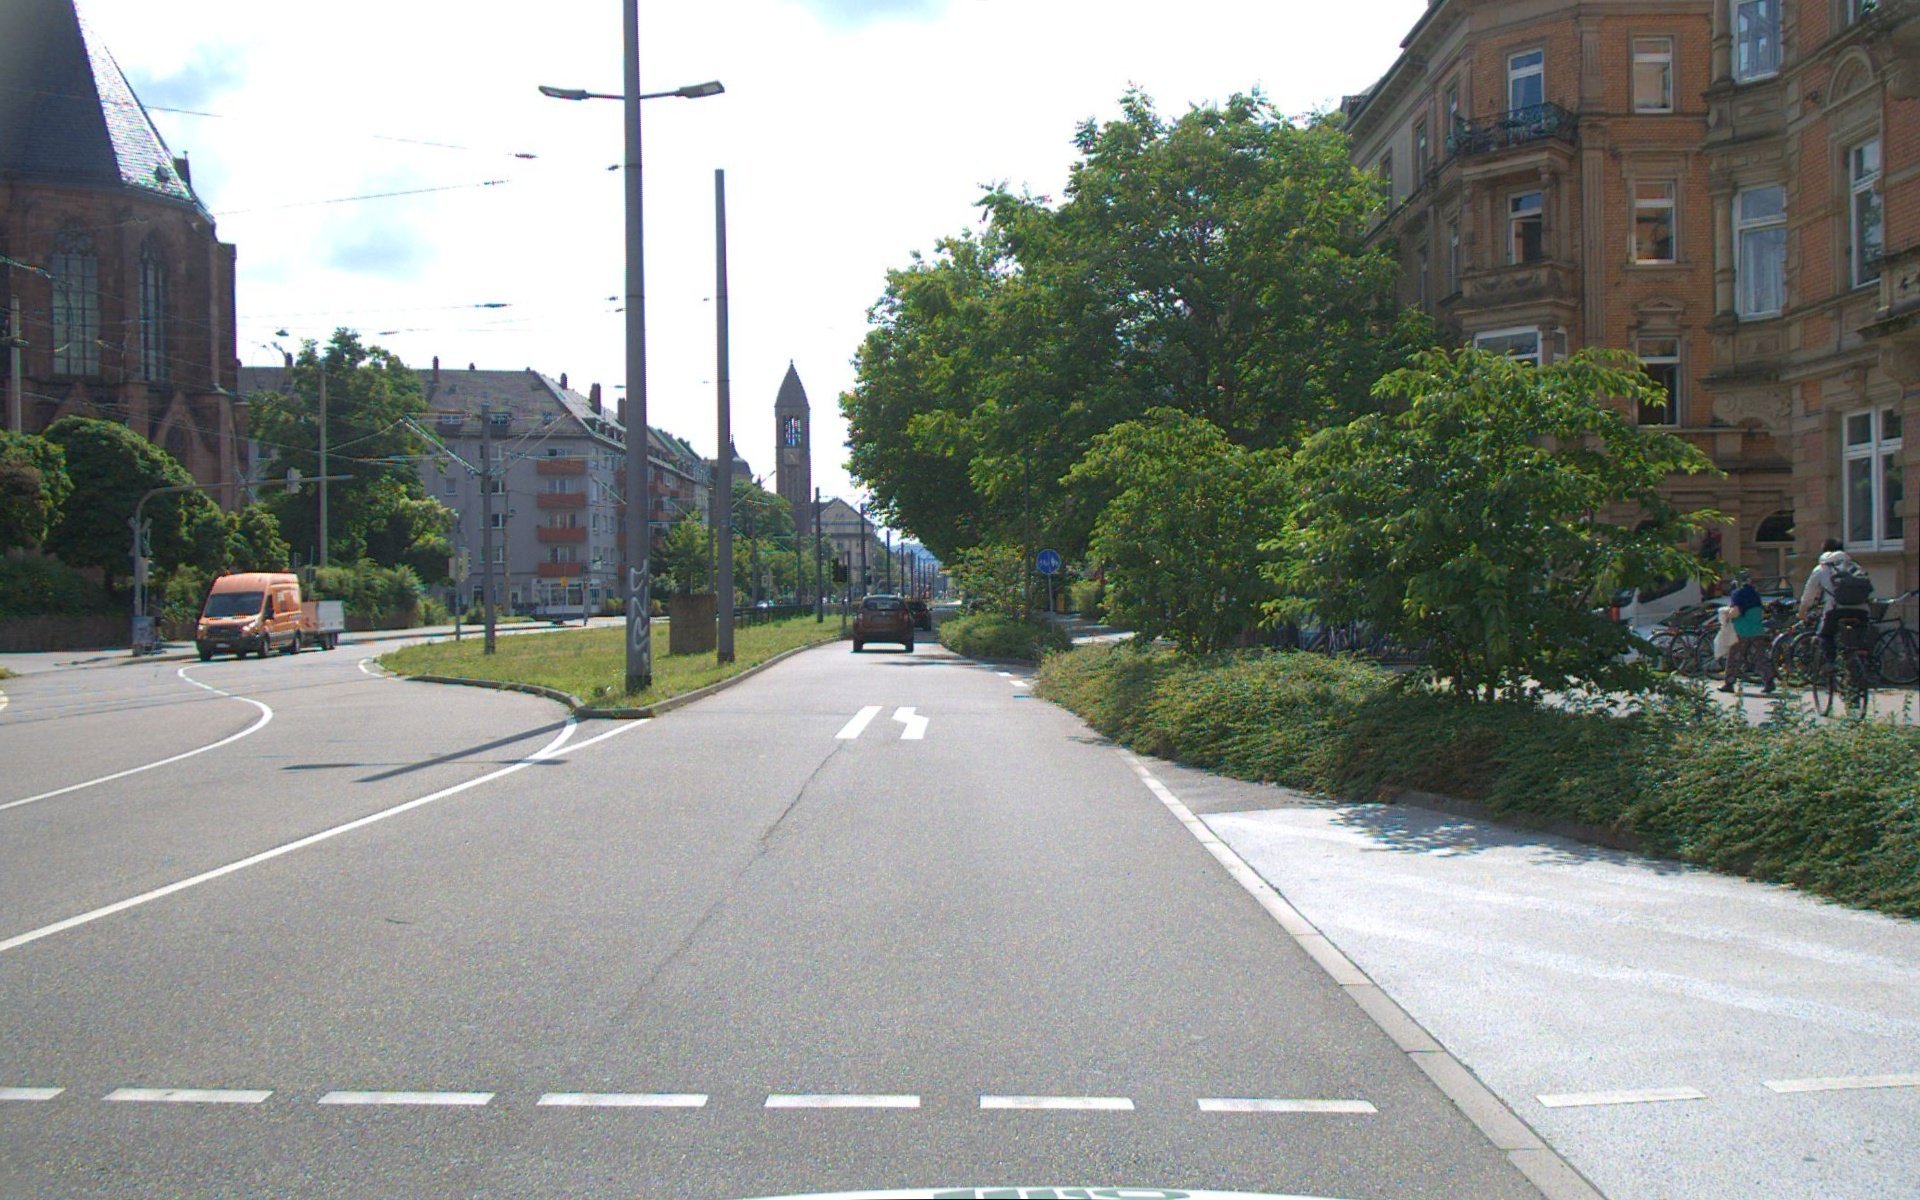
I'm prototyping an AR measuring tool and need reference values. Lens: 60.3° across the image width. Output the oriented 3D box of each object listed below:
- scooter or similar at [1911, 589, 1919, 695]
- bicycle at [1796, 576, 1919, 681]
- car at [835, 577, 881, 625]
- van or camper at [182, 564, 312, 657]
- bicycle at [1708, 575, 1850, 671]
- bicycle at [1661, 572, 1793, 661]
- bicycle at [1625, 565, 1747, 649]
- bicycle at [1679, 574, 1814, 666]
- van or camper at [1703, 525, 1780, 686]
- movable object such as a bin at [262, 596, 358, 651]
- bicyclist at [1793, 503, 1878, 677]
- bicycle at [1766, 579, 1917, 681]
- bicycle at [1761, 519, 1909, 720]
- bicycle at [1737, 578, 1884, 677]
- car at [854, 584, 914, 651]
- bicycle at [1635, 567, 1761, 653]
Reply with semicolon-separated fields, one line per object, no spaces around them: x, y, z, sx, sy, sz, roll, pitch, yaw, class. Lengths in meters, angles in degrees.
11.693;0.430;18.538;1.733;1.205;0.466;-3;-1;0;scooter or similar
11.715;0.359;21.216;1.732;1.290;0.467;-1;2;3;bicycle
-4.540;0.018;74.209;1.954;2.049;3.998;-1;0;-3;car
-23.058;0.310;53.777;2.213;2.785;6.192;-1;0;-8;van or camper
11.499;0.320;23.248;1.732;1.290;0.467;-1;2;3;bicycle
11.426;0.242;24.673;1.732;1.290;0.467;-1;2;3;bicycle
11.533;0.101;26.296;1.732;1.290;0.467;-1;2;3;bicycle
11.426;0.286;24.050;1.732;1.290;0.467;-1;2;3;bicycle
10.160;0.067;21.512;0.652;2.049;0.638;-1;0;0;van or camper
-23.460;0.824;59.840;2.163;1.723;3.714;-1;3;-5;movable object such as a bin
9.035;-0.101;17.089;0.418;1.748;0.828;-1;0;1;bicyclist
11.607;0.389;21.800;1.709;1.290;0.467;-1;2;3;bicycle
9.006;0.187;17.089;0.669;1.959;1.590;-1;0;1;bicycle
11.545;0.368;22.478;1.732;1.290;0.467;-1;2;3;bicycle
-2.214;0.488;48.799;1.655;1.741;3.609;-1;3;-2;car
11.470;0.153;25.734;1.732;1.290;0.467;-1;2;3;bicycle
